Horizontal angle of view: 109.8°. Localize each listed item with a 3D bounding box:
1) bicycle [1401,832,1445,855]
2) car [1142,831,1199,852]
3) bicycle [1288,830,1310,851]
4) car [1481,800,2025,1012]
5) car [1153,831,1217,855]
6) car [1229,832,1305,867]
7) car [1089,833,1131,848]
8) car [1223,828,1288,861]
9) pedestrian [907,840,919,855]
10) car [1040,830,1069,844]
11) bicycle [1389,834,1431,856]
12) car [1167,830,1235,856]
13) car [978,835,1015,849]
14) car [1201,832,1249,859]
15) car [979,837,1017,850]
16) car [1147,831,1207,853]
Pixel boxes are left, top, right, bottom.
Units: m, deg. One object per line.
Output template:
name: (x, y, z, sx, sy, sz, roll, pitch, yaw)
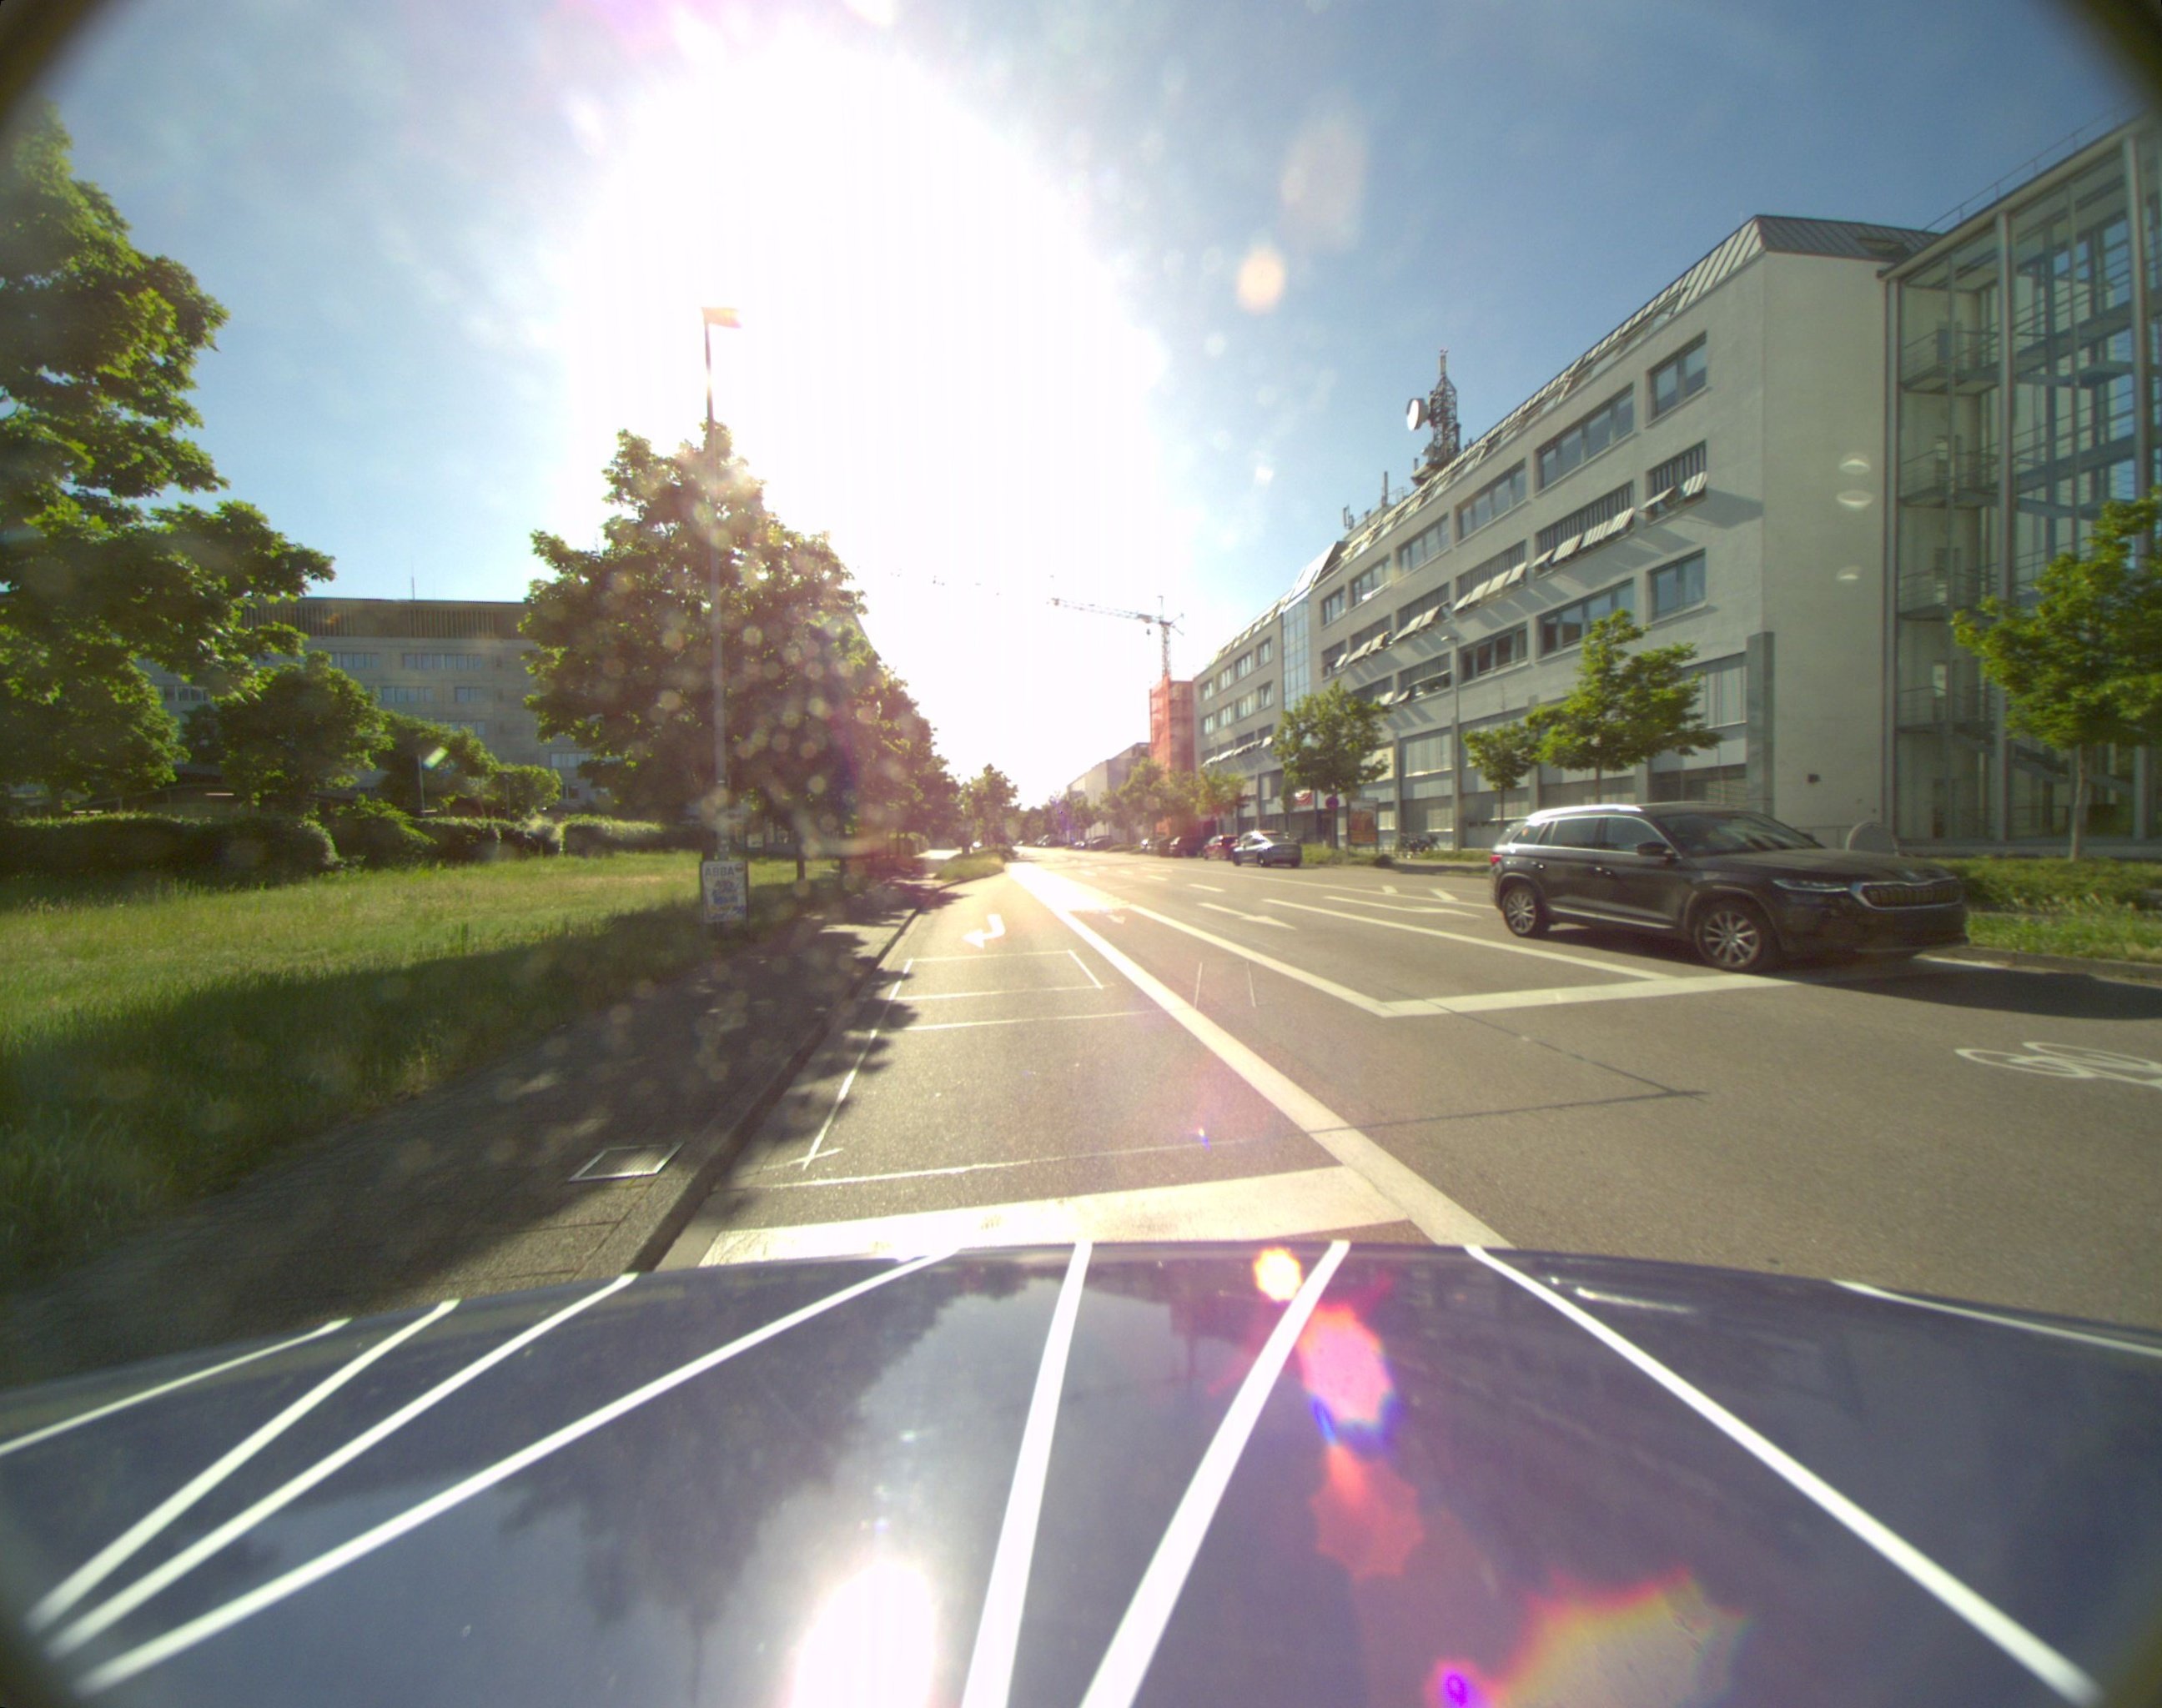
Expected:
bicycle: (16.164, -0.482, 35.928, 1.793, 1.063, 0.621, 0, 2, 0)
car: (7.440, -1.039, 63.178, 4.399, 1.424, 1.692, -4, 2, -7)
bicycle: (14.240, -0.886, 49.591, 0.711, 1.340, 2.231, -1, 2, -2)
car: (6.755, 0.367, 8.477, 1.759, 1.619, 4.474, -4, 2, -7)
car: (7.759, -0.827, 56.942, 4.400, 1.424, 1.691, -4, 2, -10)
car: (8.550, -0.241, 35.392, 1.694, 1.460, 4.542, -1, 1, -11)
car: (3.362, -1.526, 87.094, 4.400, 1.424, 1.975, -4, 2, -11)
car: (9.496, -0.554, 41.588, 1.694, 1.598, 4.305, -4, 2, -12)
pedestrian: (-13.198, -0.502, 59.618, 0.848, 1.210, 0.727, -1, 2, -20)
car: (-5.240, -3.393, 151.655, 5.586, 2.469, 2.009, -4, 2, -5)
bicycle: (15.882, -0.443, 36.672, 1.771, 1.063, 0.555, 0, 2, 0)
car: (8.517, -0.821, 53.969, 4.400, 1.529, 1.691, -4, 2, -12)
car: (-10.318, -1.428, 92.368, 4.416, 1.632, 2.072, -1, 2, -8)
car: (8.737, -0.545, 46.343, 1.693, 1.424, 3.868, -4, 2, -7)
car: (-9.835, -1.263, 90.134, 4.416, 1.455, 1.893, -1, 2, -8)
car: (7.713, -1.000, 61.162, 4.399, 1.424, 1.692, -4, 2, -8)
